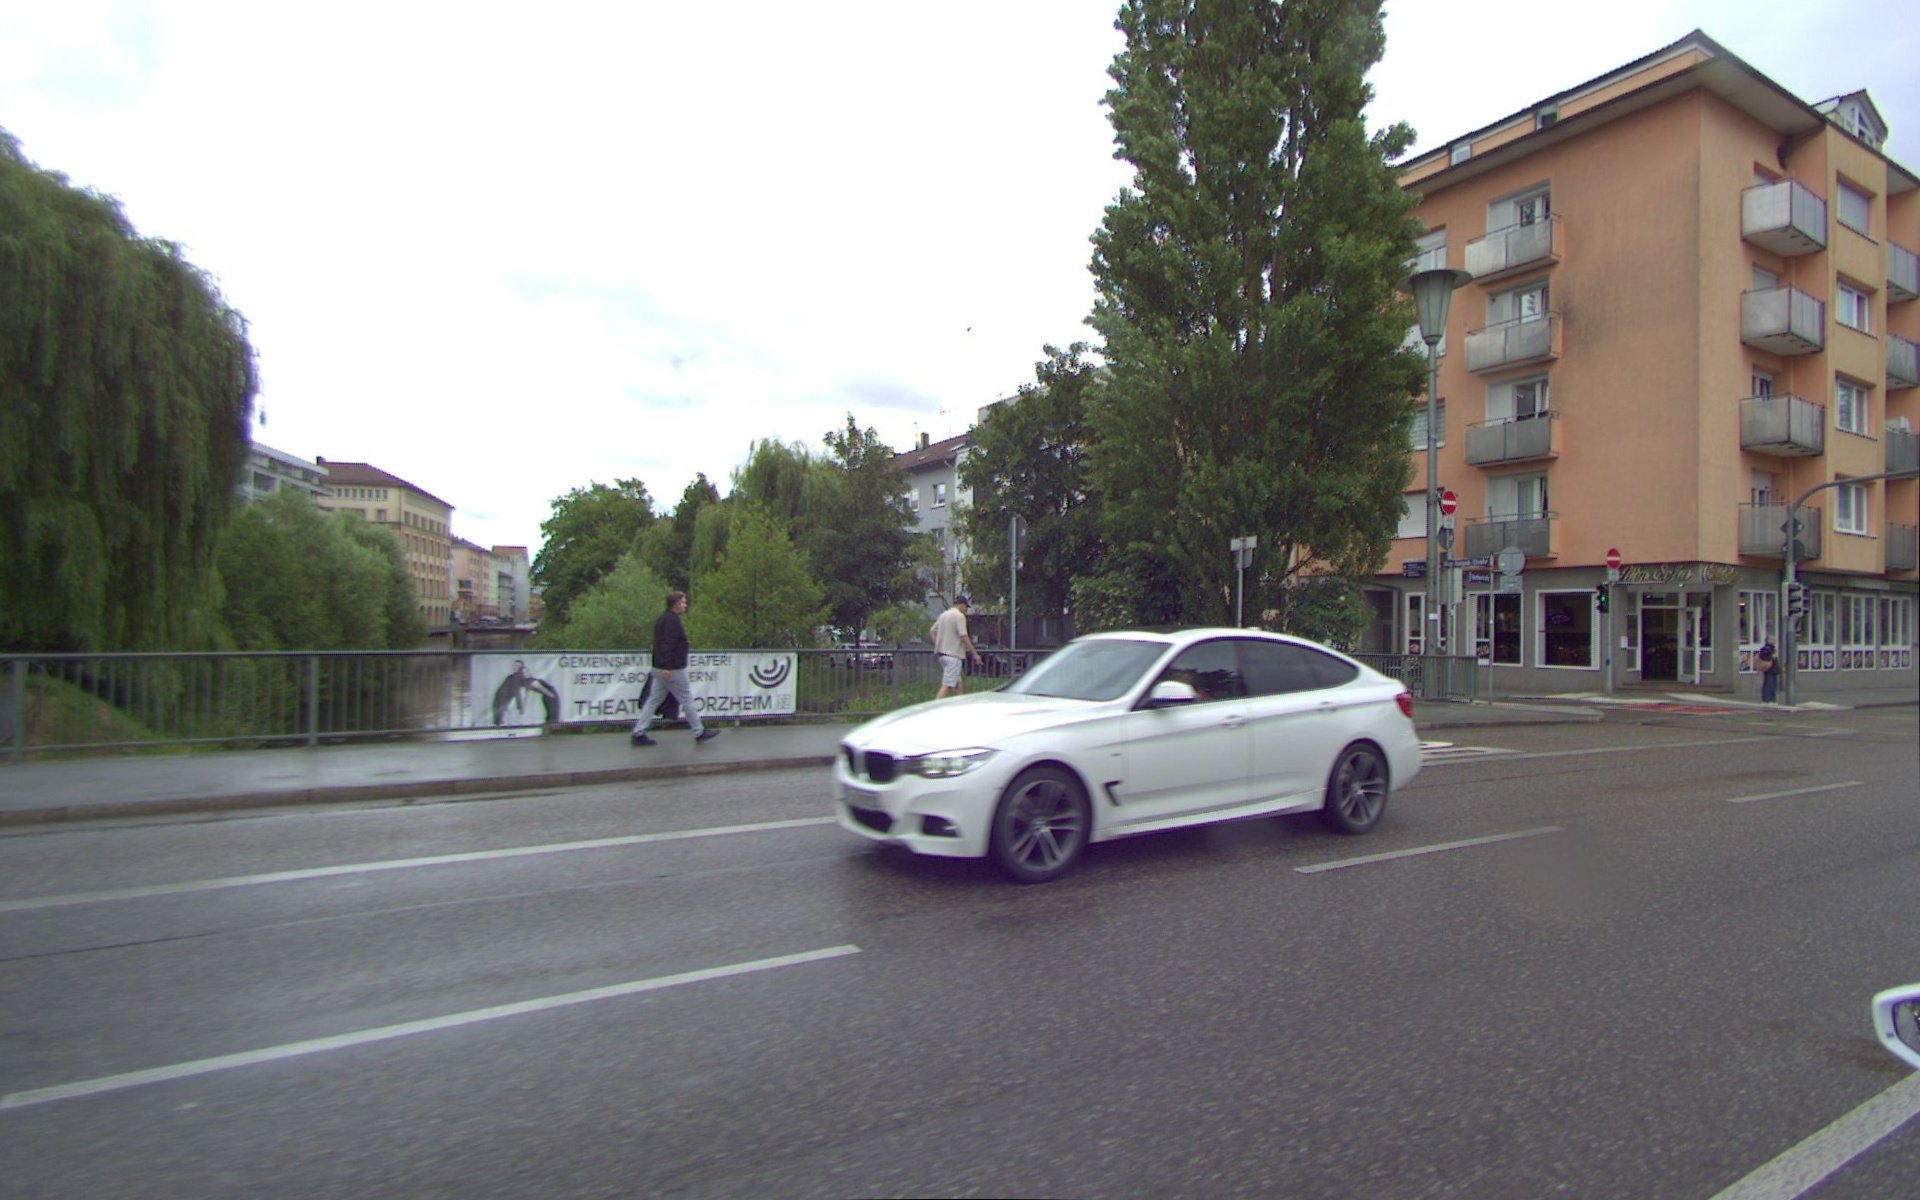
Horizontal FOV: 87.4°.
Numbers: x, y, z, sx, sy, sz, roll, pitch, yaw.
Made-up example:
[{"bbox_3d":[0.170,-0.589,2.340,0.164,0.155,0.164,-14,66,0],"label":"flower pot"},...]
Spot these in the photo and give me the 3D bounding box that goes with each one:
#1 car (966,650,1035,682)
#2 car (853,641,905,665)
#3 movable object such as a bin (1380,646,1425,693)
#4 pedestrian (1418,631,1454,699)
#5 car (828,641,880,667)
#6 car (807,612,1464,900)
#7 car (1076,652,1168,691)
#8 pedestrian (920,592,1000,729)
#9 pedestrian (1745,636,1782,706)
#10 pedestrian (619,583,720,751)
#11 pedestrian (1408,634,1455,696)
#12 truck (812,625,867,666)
[{"bbox_3d":[2.087,3.422,52.764,1.876,1.406,3.969,2,-1,-29],"label":"car"},{"bbox_3d":[-5.318,3.426,65.279,1.876,1.406,3.969,2,-1,-29],"label":"car"},{"bbox_3d":[11.242,1.759,25.522,0.866,1.126,0.800,1,-3,10],"label":"movable object such as a bin"},{"bbox_3d":[12.003,1.633,25.361,0.609,1.684,0.800,1,-3,9],"label":"pedestrian"},{"bbox_3d":[-6.458,3.244,61.016,1.702,1.406,3.969,1,-1,-29],"label":"car"},{"bbox_3d":[1.438,0.901,7.386,4.766,1.529,1.827,1,-2,-32],"label":"car"},{"bbox_3d":[6.939,3.049,43.340,1.876,1.406,3.969,1,-1,-29],"label":"car"},{"bbox_3d":[-0.006,0.816,13.877,0.802,1.818,0.794,2,0,-28],"label":"pedestrian"},{"bbox_3d":[20.517,1.801,25.659,0.640,1.750,0.528,1,-1,-27],"label":"pedestrian"},{"bbox_3d":[-3.303,0.736,11.410,0.946,1.818,0.695,2,0,-27],"label":"pedestrian"},{"bbox_3d":[11.477,1.574,24.466,0.785,1.464,0.653,2,-3,-12],"label":"pedestrian"},{"bbox_3d":[-8.461,3.140,70.077,2.082,2.663,4.620,1,0,-31],"label":"truck"}]
